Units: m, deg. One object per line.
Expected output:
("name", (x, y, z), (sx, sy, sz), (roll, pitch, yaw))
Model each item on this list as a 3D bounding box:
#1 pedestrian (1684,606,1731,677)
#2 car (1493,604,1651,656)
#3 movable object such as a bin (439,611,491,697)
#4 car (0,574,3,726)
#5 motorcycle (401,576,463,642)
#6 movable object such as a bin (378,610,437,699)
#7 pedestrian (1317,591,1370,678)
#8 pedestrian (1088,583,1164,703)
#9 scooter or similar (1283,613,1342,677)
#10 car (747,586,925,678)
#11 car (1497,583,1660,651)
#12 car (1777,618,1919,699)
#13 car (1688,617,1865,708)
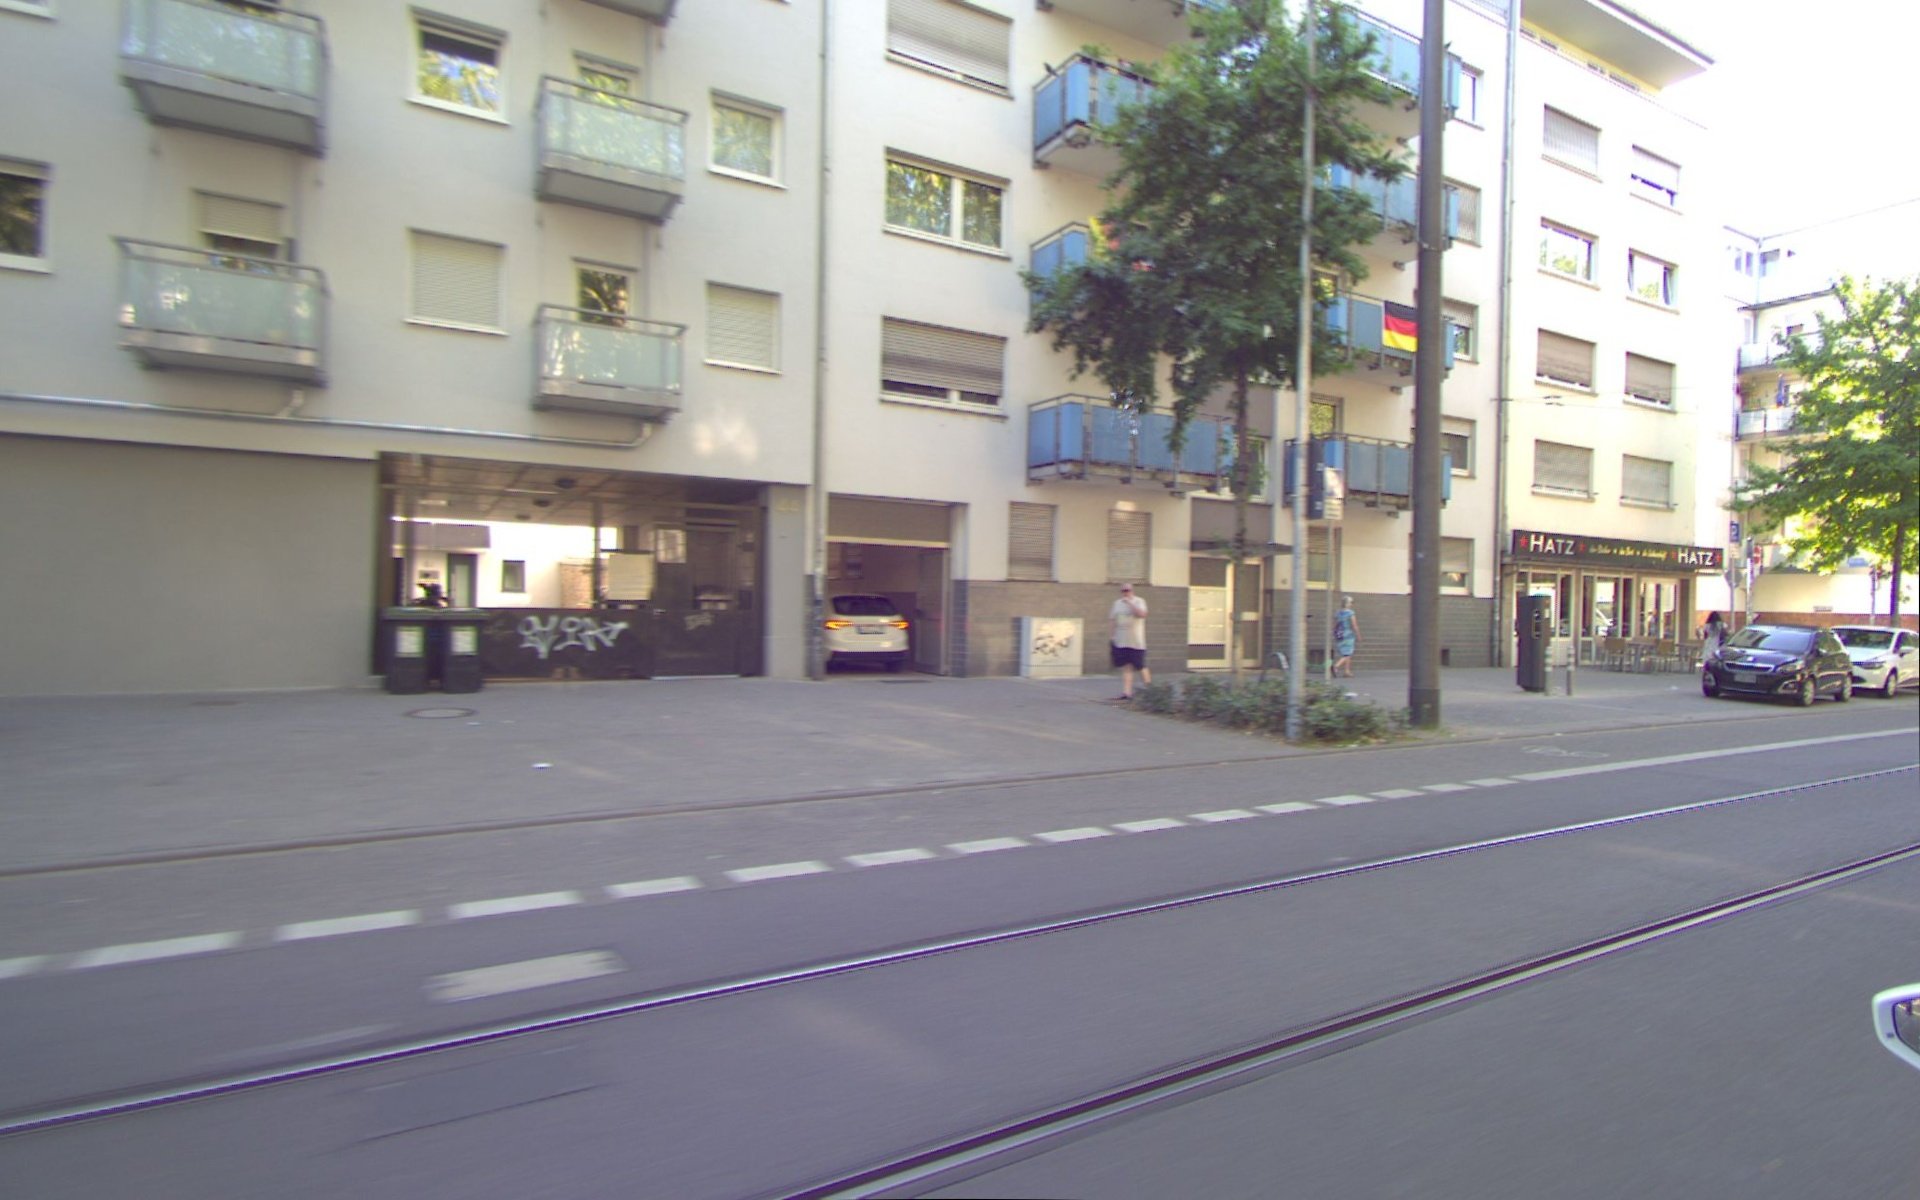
("pedestrian", (18.241, 1.002, 24.509), (0.740, 1.713, 0.660), (1, 0, -31))
("car", (23.559, 1.096, 38.876), (2.017, 1.847, 4.846), (1, 0, -33))
("movable object such as a bin", (-6.357, 0.675, 12.888), (0.567, 1.069, 0.670), (1, 0, -27))
("car", (-8.904, 0.518, 7.191), (1.828, 1.495, 3.998), (2, 0, -26))
("motorcycle", (-12.073, 0.199, 22.942), (0.977, 1.420, 2.201), (1, 0, -35))
("movable object such as a bin", (-6.907, 0.671, 12.577), (0.614, 1.069, 0.675), (1, 0, -28))
("pedestrian", (7.717, 0.689, 20.207), (0.740, 1.713, 0.660), (1, 0, -31))
("pedestrian", (2.458, 0.620, 14.924), (0.785, 1.713, 0.760), (1, 0, -31))
("scooter or similar", (7.366, 0.931, 20.977), (1.219, 1.306, 0.374), (1, -2, -22))
("car", (-2.445, 0.532, 18.952), (1.831, 1.495, 3.991), (2, 0, -31))
("car", (27.054, 0.704, 44.185), (2.145, 2.760, 5.779), (1, 0, -30))
("car", (19.880, 1.238, 22.086), (4.331, 1.484, 1.702), (2, 3, -34))
("car", (15.986, 1.158, 19.616), (3.962, 1.484, 1.701), (1, 3, -37))
